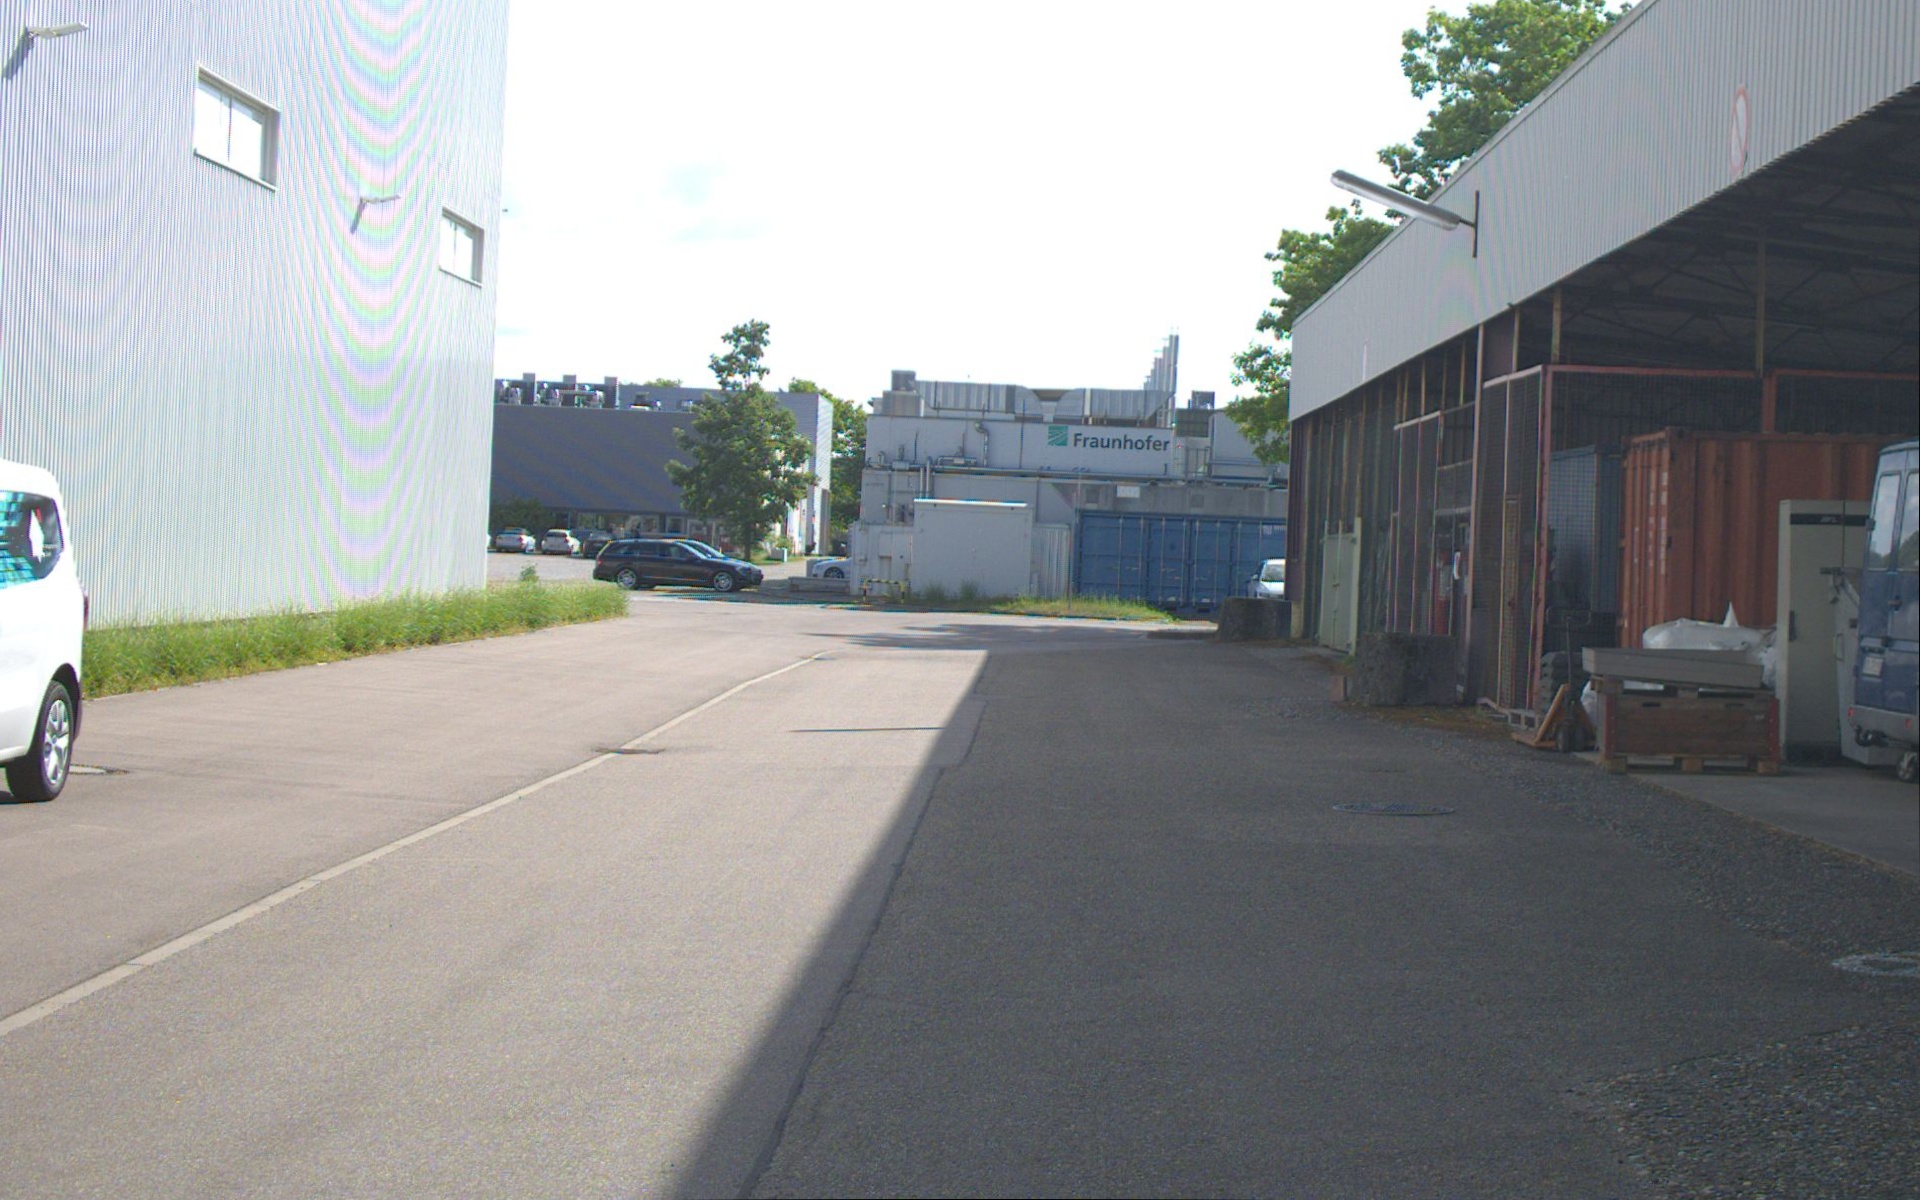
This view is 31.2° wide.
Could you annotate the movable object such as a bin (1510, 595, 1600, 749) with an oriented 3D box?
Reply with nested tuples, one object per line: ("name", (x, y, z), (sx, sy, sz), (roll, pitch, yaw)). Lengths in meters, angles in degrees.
("movable object such as a bin", (4.719, 0.558, 27.310), (0.582, 1.160, 1.238), (2, 1, 5))

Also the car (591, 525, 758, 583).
("car", (-8.204, -1.322, 98.924), (4.526, 1.503, 1.909), (2, 1, 3))

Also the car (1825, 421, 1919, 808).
("car", (8.186, 0.157, 21.531), (4.979, 2.317, 2.000), (2, 1, 2))

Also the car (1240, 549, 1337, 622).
("car", (8.159, -0.378, 85.744), (1.993, 1.580, 4.173), (2, 2, 1))

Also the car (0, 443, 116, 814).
("car", (-5.657, 0.084, 16.659), (1.890, 1.839, 4.358), (4, 1, 1))

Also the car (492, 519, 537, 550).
("car", (-25.432, -3.719, 196.177), (1.993, 1.730, 4.000), (1, 1, 1))

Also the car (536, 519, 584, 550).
("car", (-22.839, -3.719, 196.453), (2.193, 1.730, 4.000), (1, 1, 1))

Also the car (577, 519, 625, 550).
("car", (-20.318, -3.699, 194.675), (2.193, 1.730, 4.000), (1, 1, 1))

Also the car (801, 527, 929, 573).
("car", (-3.473, -1.850, 126.404), (4.526, 1.503, 1.909), (2, 1, 2))
